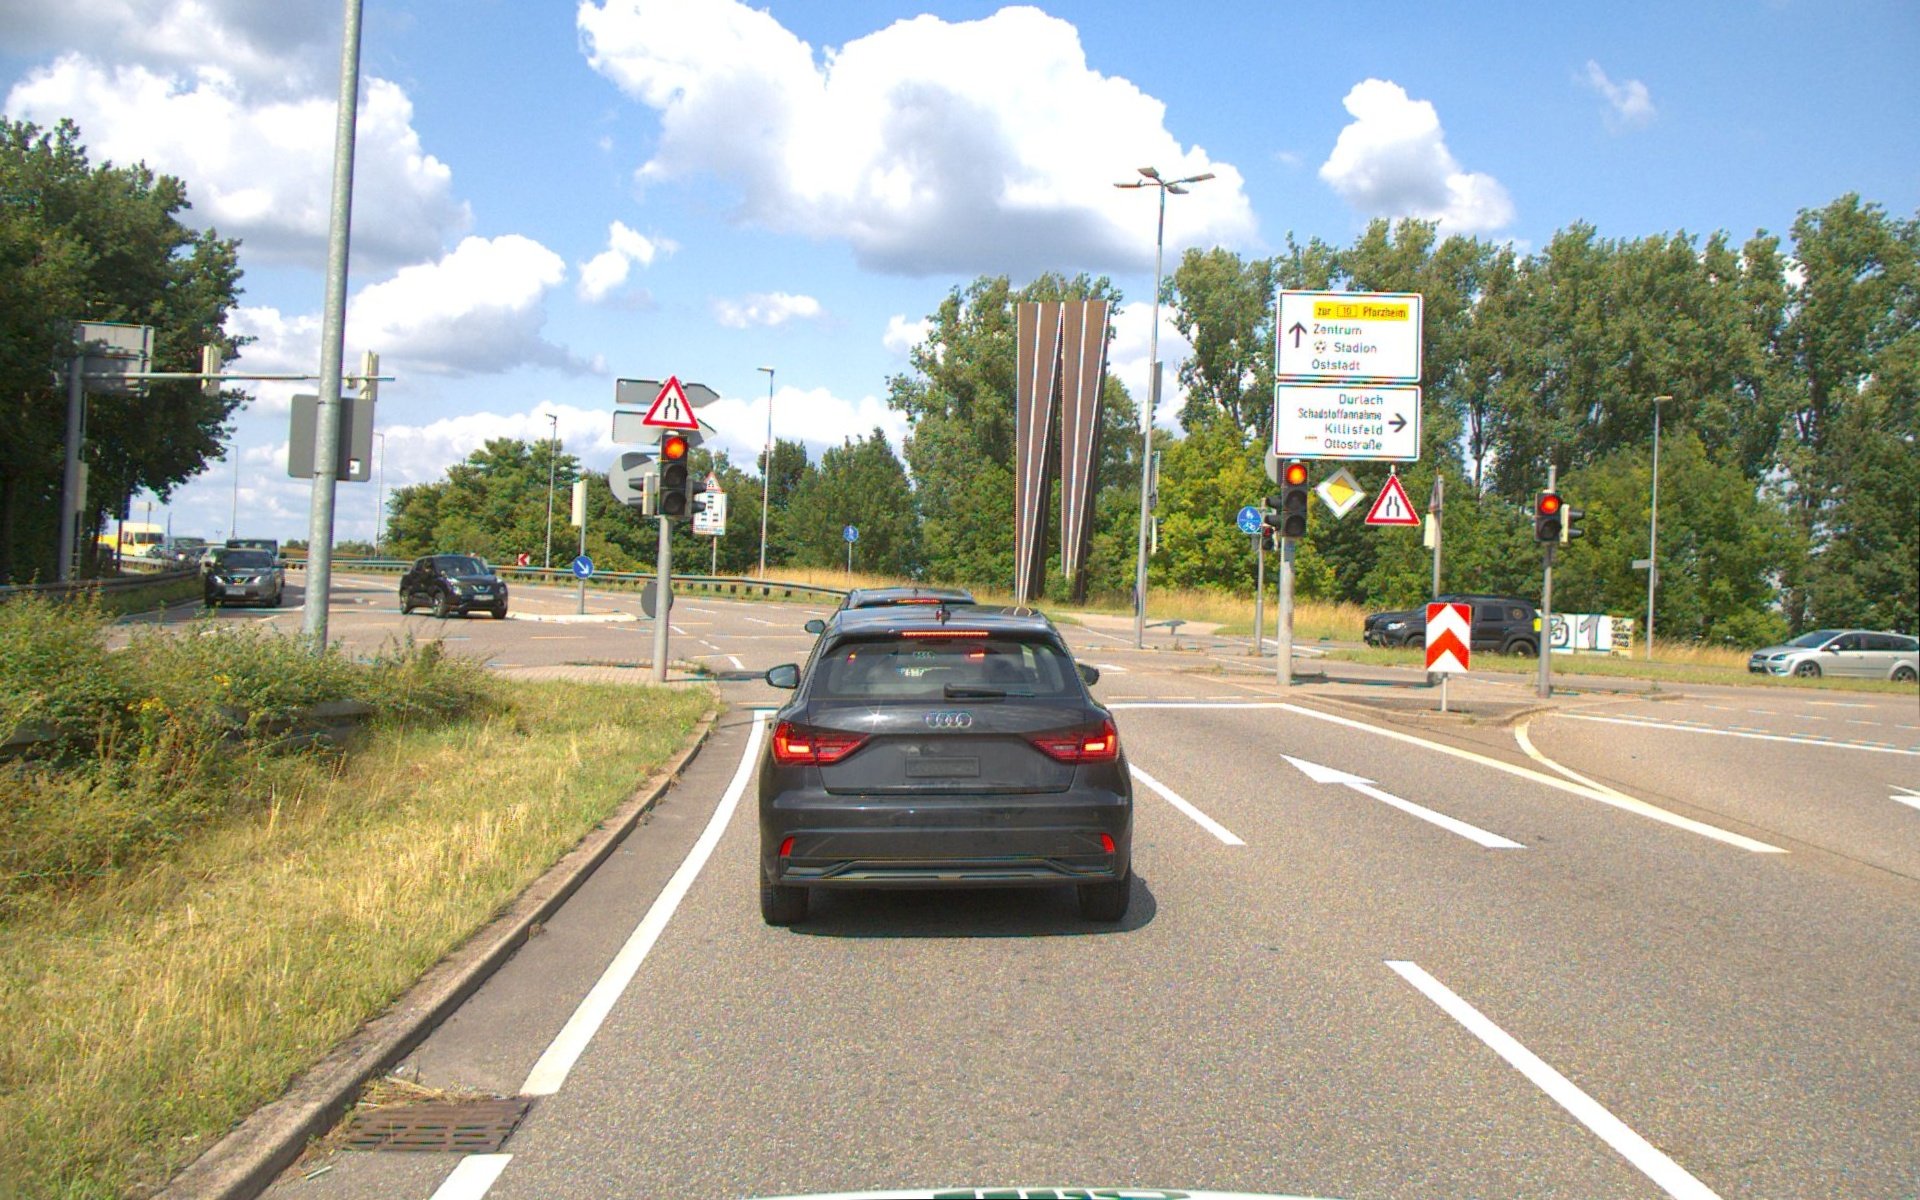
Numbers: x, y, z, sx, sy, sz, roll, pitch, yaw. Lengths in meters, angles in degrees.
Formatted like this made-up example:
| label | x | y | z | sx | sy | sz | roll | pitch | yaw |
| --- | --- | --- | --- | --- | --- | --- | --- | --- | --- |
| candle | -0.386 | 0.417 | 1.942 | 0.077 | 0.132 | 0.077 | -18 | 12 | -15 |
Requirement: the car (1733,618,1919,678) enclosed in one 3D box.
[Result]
| label | x | y | z | sx | sy | sz | roll | pitch | yaw |
| --- | --- | --- | --- | --- | --- | --- | --- | --- | --- |
| car | 22.255 | 1.205 | 42.106 | 4.385 | 1.343 | 1.735 | 2 | 0 | -5 |

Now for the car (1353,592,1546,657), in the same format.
| label | x | y | z | sx | sy | sz | roll | pitch | yaw |
| --- | --- | --- | --- | --- | --- | --- | --- | --- | --- |
| car | 13.377 | 0.656 | 45.377 | 4.750 | 1.572 | 1.736 | 2 | 0 | -2 |

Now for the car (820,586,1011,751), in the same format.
| label | x | y | z | sx | sy | sz | roll | pitch | yaw |
| --- | --- | --- | --- | --- | --- | --- | --- | --- | --- |
| car | -0.553 | 0.593 | 16.674 | 1.692 | 1.448 | 3.840 | 0 | 1 | -5 |

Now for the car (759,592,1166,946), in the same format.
| label | x | y | z | sx | sy | sz | roll | pitch | yaw |
| --- | --- | --- | --- | --- | --- | --- | --- | --- | --- |
| car | -0.028 | 0.691 | 8.872 | 1.691 | 1.429 | 3.999 | 0 | 1 | -1 |

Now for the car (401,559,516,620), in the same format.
| label | x | y | z | sx | sy | sz | roll | pitch | yaw |
| --- | --- | --- | --- | --- | --- | --- | --- | --- | --- |
| car | -12.969 | -0.297 | 42.648 | 1.927 | 1.443 | 3.929 | 2 | 0 | -31 |

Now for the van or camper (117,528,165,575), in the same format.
| label | x | y | z | sx | sy | sz | roll | pitch | yaw |
| --- | --- | --- | --- | --- | --- | --- | --- | --- | --- |
| van or camper | -50.990 | -3.001 | 102.877 | 1.975 | 2.730 | 6.787 | 1 | 1 | -32 |

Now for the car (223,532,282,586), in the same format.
| label | x | y | z | sx | sy | sz | roll | pitch | yaw |
| --- | --- | --- | --- | --- | --- | --- | --- | --- | --- |
| car | -25.737 | -1.494 | 60.290 | 1.817 | 1.833 | 4.298 | 2 | 0 | -22 |

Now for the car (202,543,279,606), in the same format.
| label | x | y | z | sx | sy | sz | roll | pitch | yaw |
| --- | --- | --- | --- | --- | --- | --- | --- | --- | --- |
| car | -20.174 | -0.677 | 46.483 | 1.813 | 1.646 | 3.974 | 1 | -1 | -22 |

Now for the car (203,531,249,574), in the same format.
| label | x | y | z | sx | sy | sz | roll | pitch | yaw |
| --- | --- | --- | --- | --- | --- | --- | --- | --- | --- |
| car | -36.029 | -2.309 | 81.130 | 1.821 | 2.013 | 4.289 | 2 | 0 | -27 |

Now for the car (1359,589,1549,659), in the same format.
| label | x | y | z | sx | sy | sz | roll | pitch | yaw |
| --- | --- | --- | --- | --- | --- | --- | --- | --- | --- |
| car | 12.348 | 0.591 | 41.491 | 4.182 | 1.572 | 1.736 | 2 | 0 | -2 |

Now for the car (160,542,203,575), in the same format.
| label | x | y | z | sx | sy | sz | roll | pitch | yaw |
| --- | --- | --- | --- | --- | --- | --- | --- | --- | --- |
| car | -42.570 | -2.273 | 90.360 | 1.823 | 1.735 | 4.285 | 2 | 0 | -29 |
